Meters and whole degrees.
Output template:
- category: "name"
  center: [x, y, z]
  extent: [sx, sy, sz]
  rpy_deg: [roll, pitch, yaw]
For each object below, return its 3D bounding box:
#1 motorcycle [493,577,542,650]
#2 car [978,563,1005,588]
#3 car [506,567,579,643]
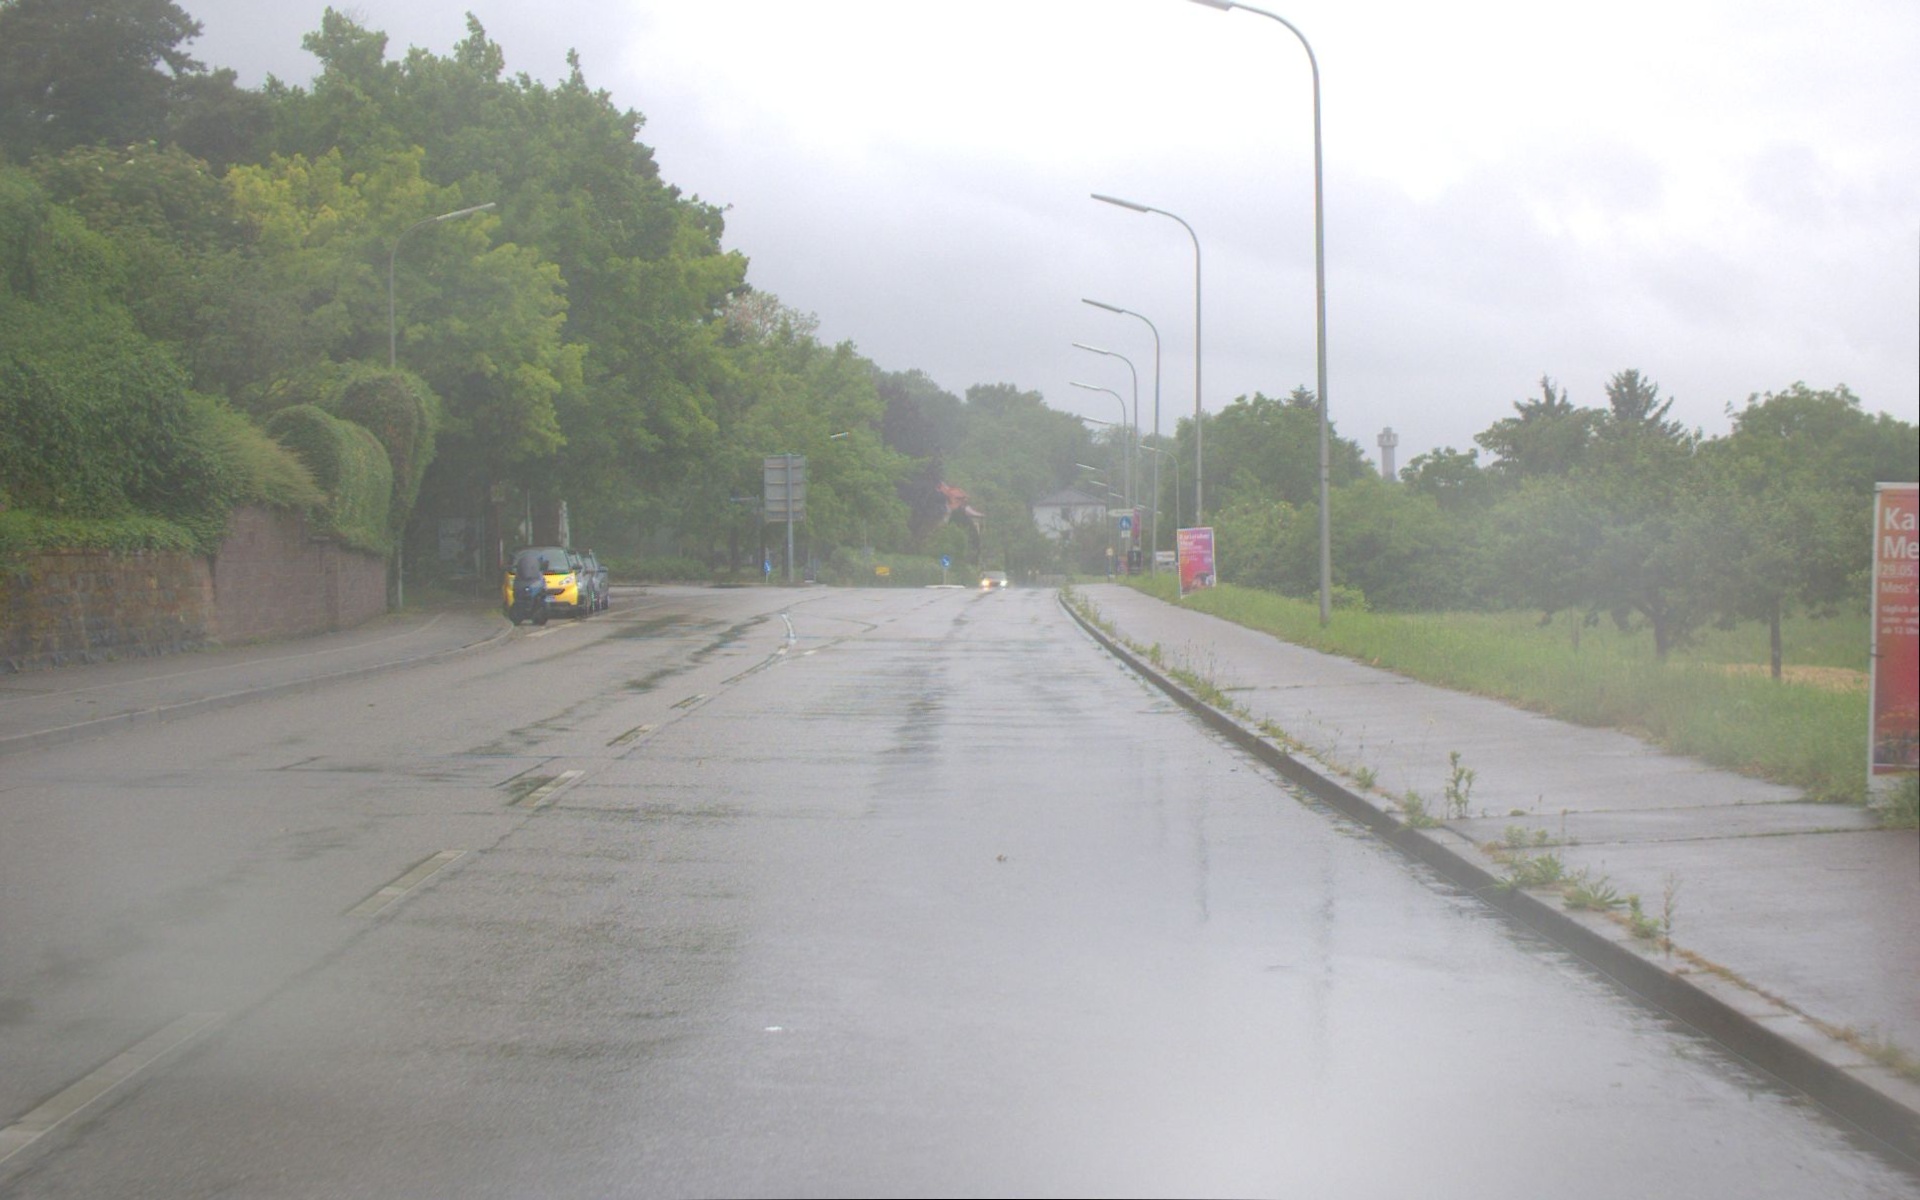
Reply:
- category: "motorcycle"
  center: [-8.436, 0.244, 65.576]
  extent: [0.837, 1.336, 2.500]
  rpy_deg: [-1, 1, -6]
- category: "car"
  center: [2.266, -1.781, 246.457]
  extent: [1.794, 1.756, 4.000]
  rpy_deg: [0, 1, -2]
- category: "car"
  center: [-8.814, 0.085, 72.393]
  extent: [1.433, 1.532, 2.820]
  rpy_deg: [-1, 1, -8]
